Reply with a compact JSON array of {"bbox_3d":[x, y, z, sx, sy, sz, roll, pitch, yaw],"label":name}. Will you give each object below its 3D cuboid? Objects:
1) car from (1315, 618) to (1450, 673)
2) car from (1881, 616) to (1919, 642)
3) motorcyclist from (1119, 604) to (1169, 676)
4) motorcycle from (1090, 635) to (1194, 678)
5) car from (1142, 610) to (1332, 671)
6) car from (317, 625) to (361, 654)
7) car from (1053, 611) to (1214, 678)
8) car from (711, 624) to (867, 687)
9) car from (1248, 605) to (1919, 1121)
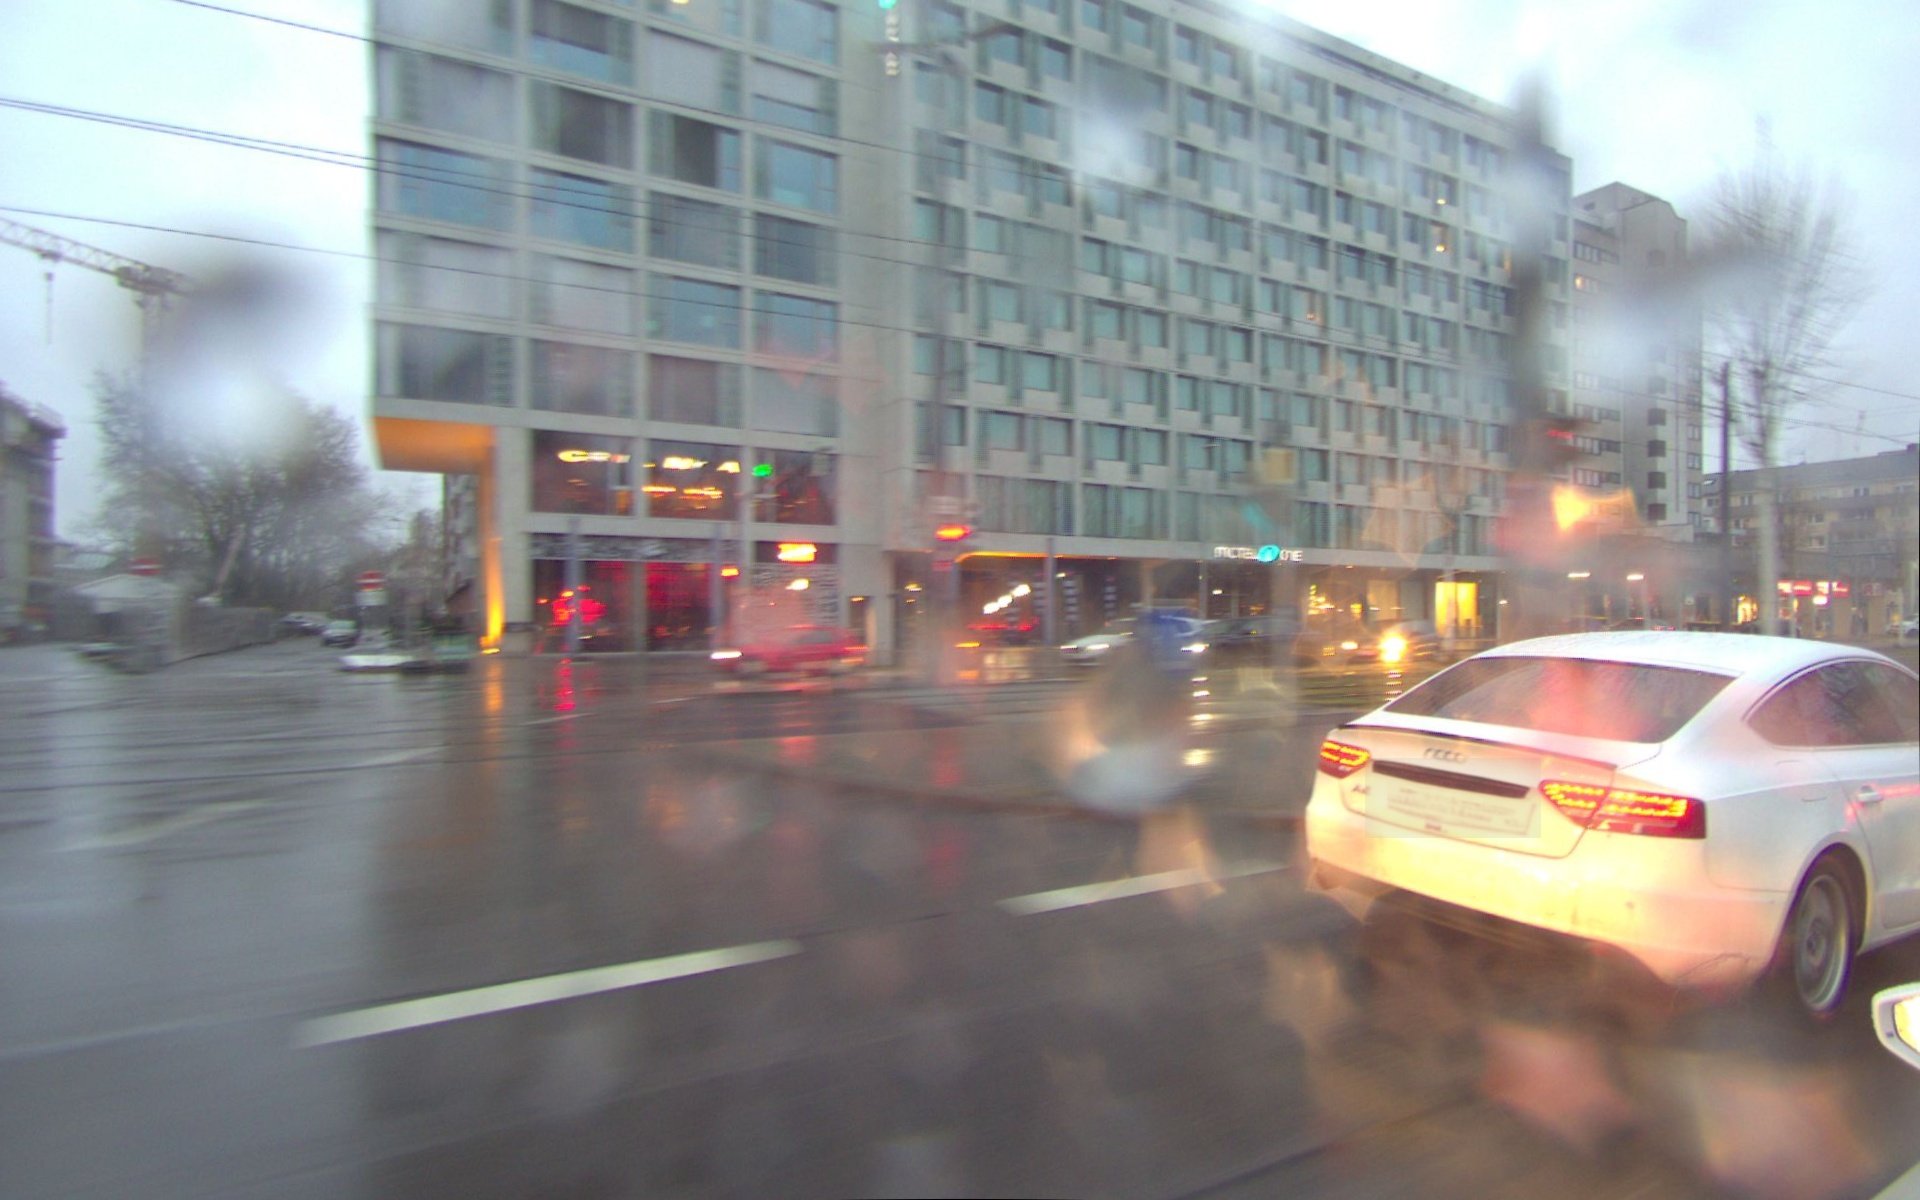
[{"bbox_3d":[12.925,1.305,30.553,5.061,1.481,1.974,1,0,-44],"label":"car"},{"bbox_3d":[78.647,2.353,81.929,4.787,2.040,2.000,0,0,19],"label":"car"},{"bbox_3d":[5.032,1.083,27.483,1.021,1.910,0.867,1,0,-30],"label":"motorcyclist"},{"bbox_3d":[4.999,1.516,27.463,2.931,1.071,0.867,1,0,-30],"label":"motorcycle"},{"bbox_3d":[7.474,1.040,26.959,5.034,1.481,1.984,1,0,-30],"label":"car"},{"bbox_3d":[-36.177,2.270,58.635,1.863,1.595,3.972,0,-1,-27],"label":"car"},{"bbox_3d":[5.135,1.276,29.595,4.544,1.813,1.872,1,0,-30],"label":"car"},{"bbox_3d":[-4.808,1.510,28.254,3.947,1.595,1.875,1,0,-26],"label":"car"},{"bbox_3d":[3.526,0.801,4.780,4.202,1.489,1.751,1,0,-31],"label":"car"}]
